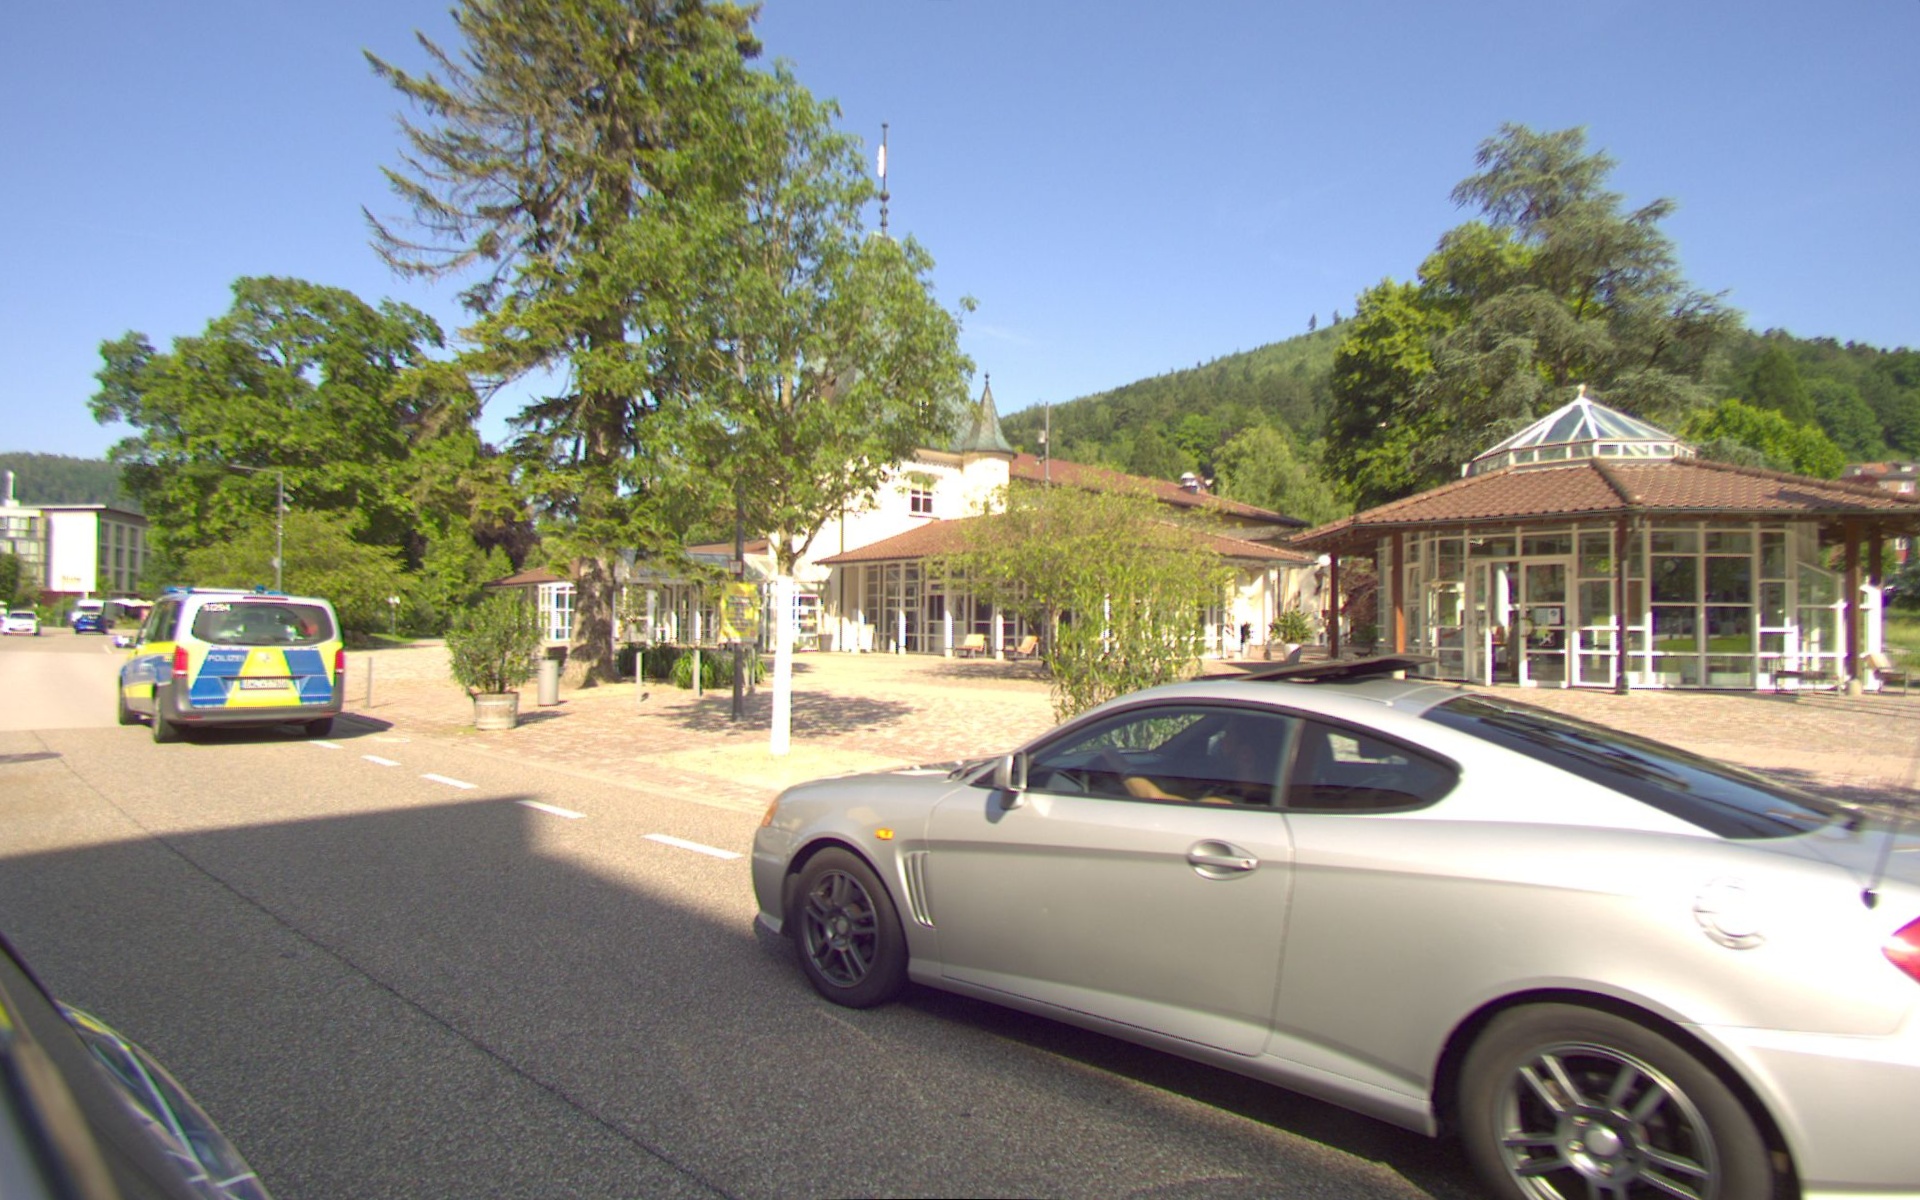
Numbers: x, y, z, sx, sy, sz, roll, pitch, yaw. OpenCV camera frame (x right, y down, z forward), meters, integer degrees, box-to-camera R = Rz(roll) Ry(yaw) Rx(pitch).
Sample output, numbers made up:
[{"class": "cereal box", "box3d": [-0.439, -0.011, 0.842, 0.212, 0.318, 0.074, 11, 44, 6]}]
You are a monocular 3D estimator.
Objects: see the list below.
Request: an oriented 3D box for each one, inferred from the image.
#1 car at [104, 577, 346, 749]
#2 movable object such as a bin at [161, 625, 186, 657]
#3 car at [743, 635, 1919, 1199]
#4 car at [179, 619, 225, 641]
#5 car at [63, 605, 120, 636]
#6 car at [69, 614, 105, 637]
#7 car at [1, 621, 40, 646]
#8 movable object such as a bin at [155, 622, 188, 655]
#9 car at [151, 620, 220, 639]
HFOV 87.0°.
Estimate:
[{"class": "car", "box3d": [-10.308, 0.798, 14.019, 5.019, 1.968, 1.834, -1, -3, 44]}, {"class": "movable object such as a bin", "box3d": [-33.874, 1.759, 43.568, 0.746, 1.352, 1.296, -1, -1, -42]}, {"class": "car", "box3d": [1.185, 0.841, 3.471, 4.060, 1.381, 1.611, -1, -4, 40]}, {"class": "car", "box3d": [-55.719, 2.204, 74.430, 2.615, 1.558, 1.687, -1, 0, -33]}, {"class": "car", "box3d": [-80.065, 1.883, 93.445, 1.760, 2.812, 5.931, -1, -1, -17]}, {"class": "car", "box3d": [-63.181, 1.825, 73.232, 1.720, 1.474, 4.191, 5, -3, -43]}, {"class": "car", "box3d": [-59.981, 2.120, 64.652, 1.629, 1.482, 4.006, 0, -1, -40]}, {"class": "movable object such as a bin", "box3d": [-35.175, 1.693, 45.150, 1.065, 1.438, 1.378, -1, -1, -42]}, {"class": "car", "box3d": [-62.573, 2.362, 81.800, 1.714, 1.442, 4.226, -1, 0, 45]}]
